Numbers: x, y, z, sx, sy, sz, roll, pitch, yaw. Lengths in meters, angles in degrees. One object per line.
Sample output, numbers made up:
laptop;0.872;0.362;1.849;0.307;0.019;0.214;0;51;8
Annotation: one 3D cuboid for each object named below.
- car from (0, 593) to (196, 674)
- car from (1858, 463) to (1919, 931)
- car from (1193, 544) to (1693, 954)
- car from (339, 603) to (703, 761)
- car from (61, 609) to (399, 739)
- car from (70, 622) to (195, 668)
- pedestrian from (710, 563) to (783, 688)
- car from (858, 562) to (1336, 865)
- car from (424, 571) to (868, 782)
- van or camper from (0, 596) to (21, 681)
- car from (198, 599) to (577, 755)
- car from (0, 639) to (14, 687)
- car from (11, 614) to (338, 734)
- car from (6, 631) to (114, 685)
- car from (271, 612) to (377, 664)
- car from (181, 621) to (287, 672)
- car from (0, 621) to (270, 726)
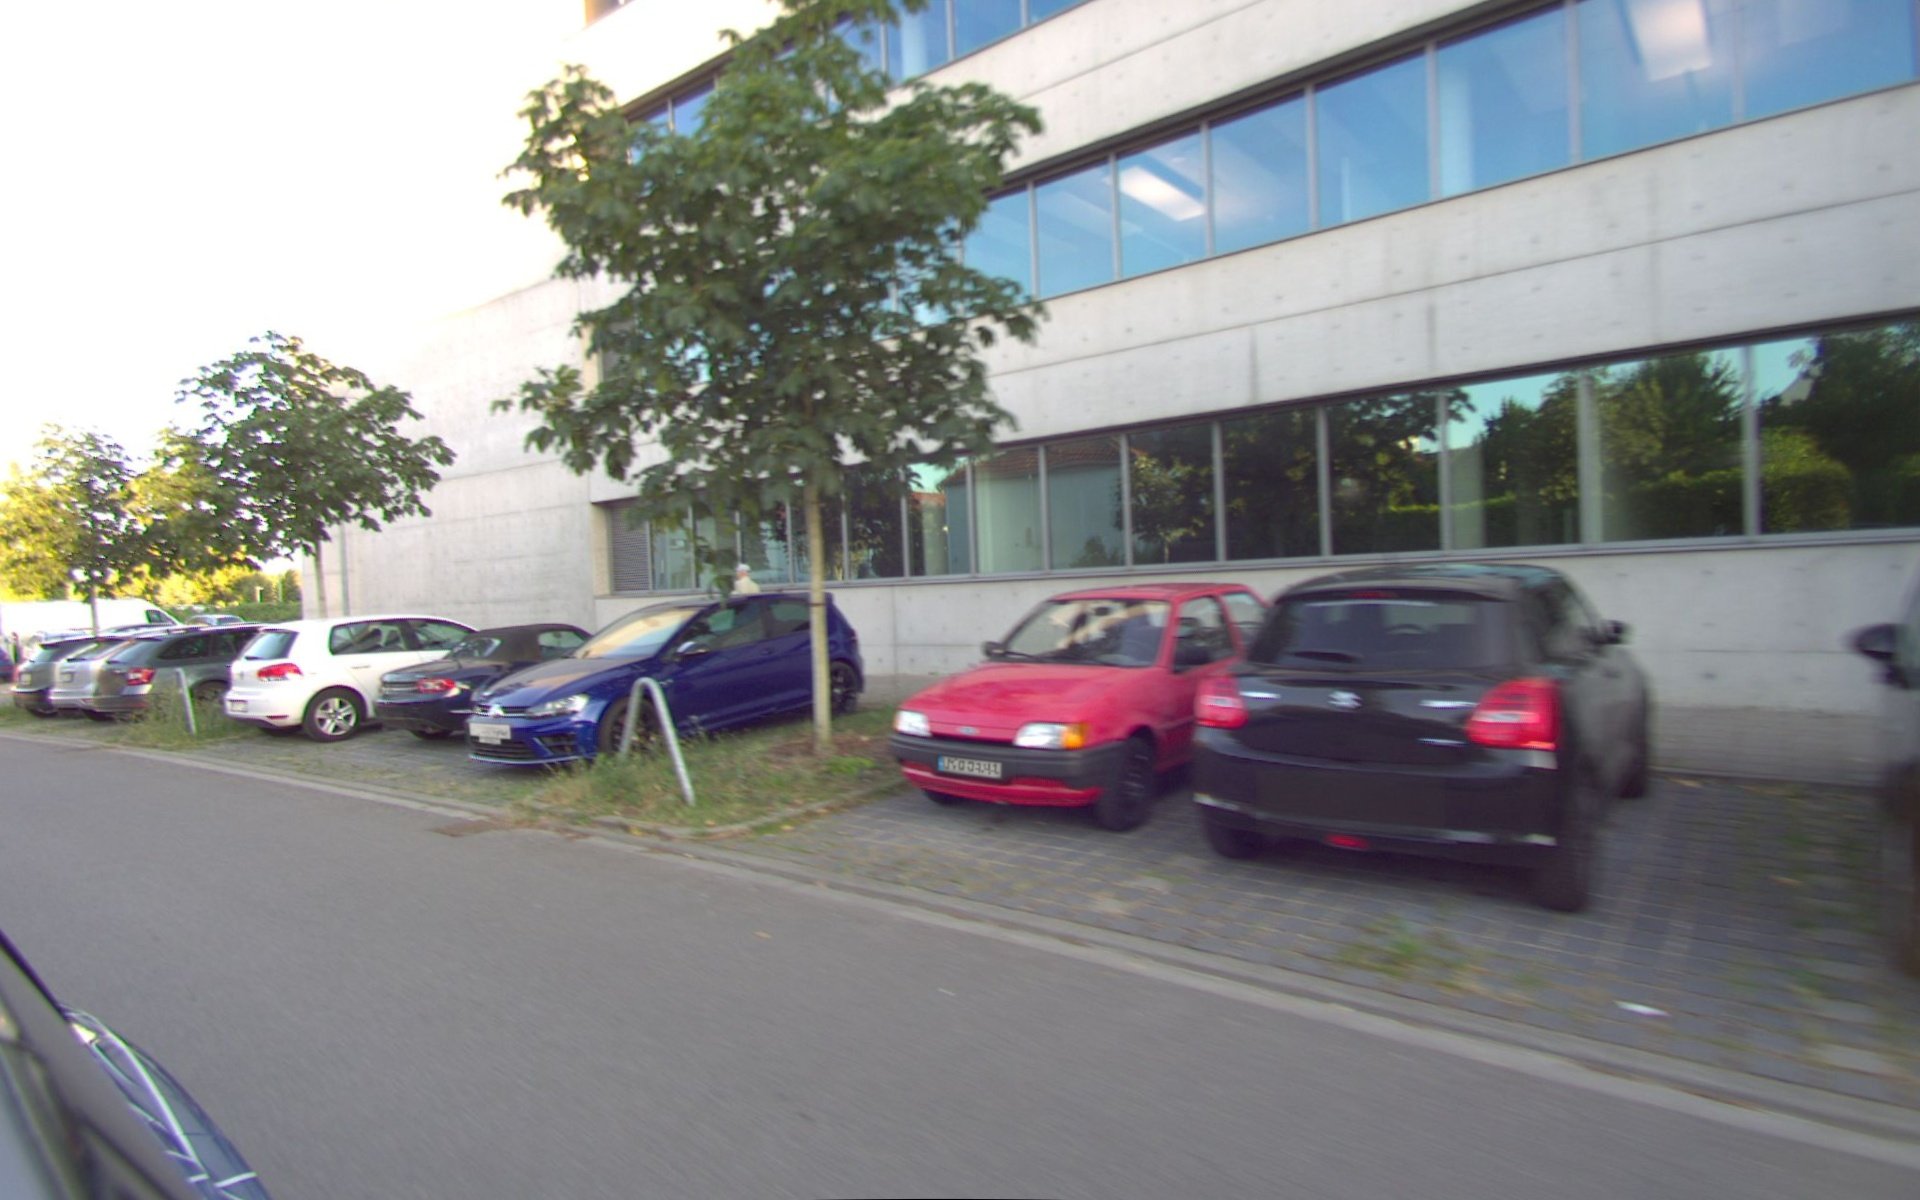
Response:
car;-34.891;1.262;40.665;2.215;2.692;6.199;-3;2;30
car;4.707;0.313;3.701;1.894;1.709;4.267;-2;2;39
car;2.919;0.483;5.647;1.677;1.468;3.666;-2;2;39
car;-5.026;0.859;12.043;1.680;1.372;3.606;-3;2;32
car;-11.332;1.083;16.015;1.579;1.523;3.971;-4;1;30
car;-32.292;1.740;39.571;1.509;1.458;3.415;-3;2;30
pedestrian;-3.187;0.378;15.124;0.724;1.797;0.640;-2;2;37
car;1.191;0.549;7.148;1.709;1.468;3.668;-2;2;38
car;-2.890;0.591;10.035;1.757;1.522;3.835;-3;2;37
van or camper;-35.727;1.548;33.214;2.398;2.919;6.698;-2;2;29
car;-7.418;0.899;13.457;1.757;1.522;3.951;-3;2;37
car;-31.341;2.037;31.757;3.713;1.433;1.649;-2;1;35
car;-13.519;1.201;17.690;1.839;1.540;4.058;-3;2;30
car;-29.440;1.845;33.078;4.194;1.490;1.649;0;4;35
car;-24.006;1.376;38.158;4.394;1.633;1.649;1;4;34
car;-26.490;1.645;36.892;4.394;1.490;1.649;1;4;34
car;-15.583;1.331;19.165;1.763;1.493;3.708;-4;1;31
